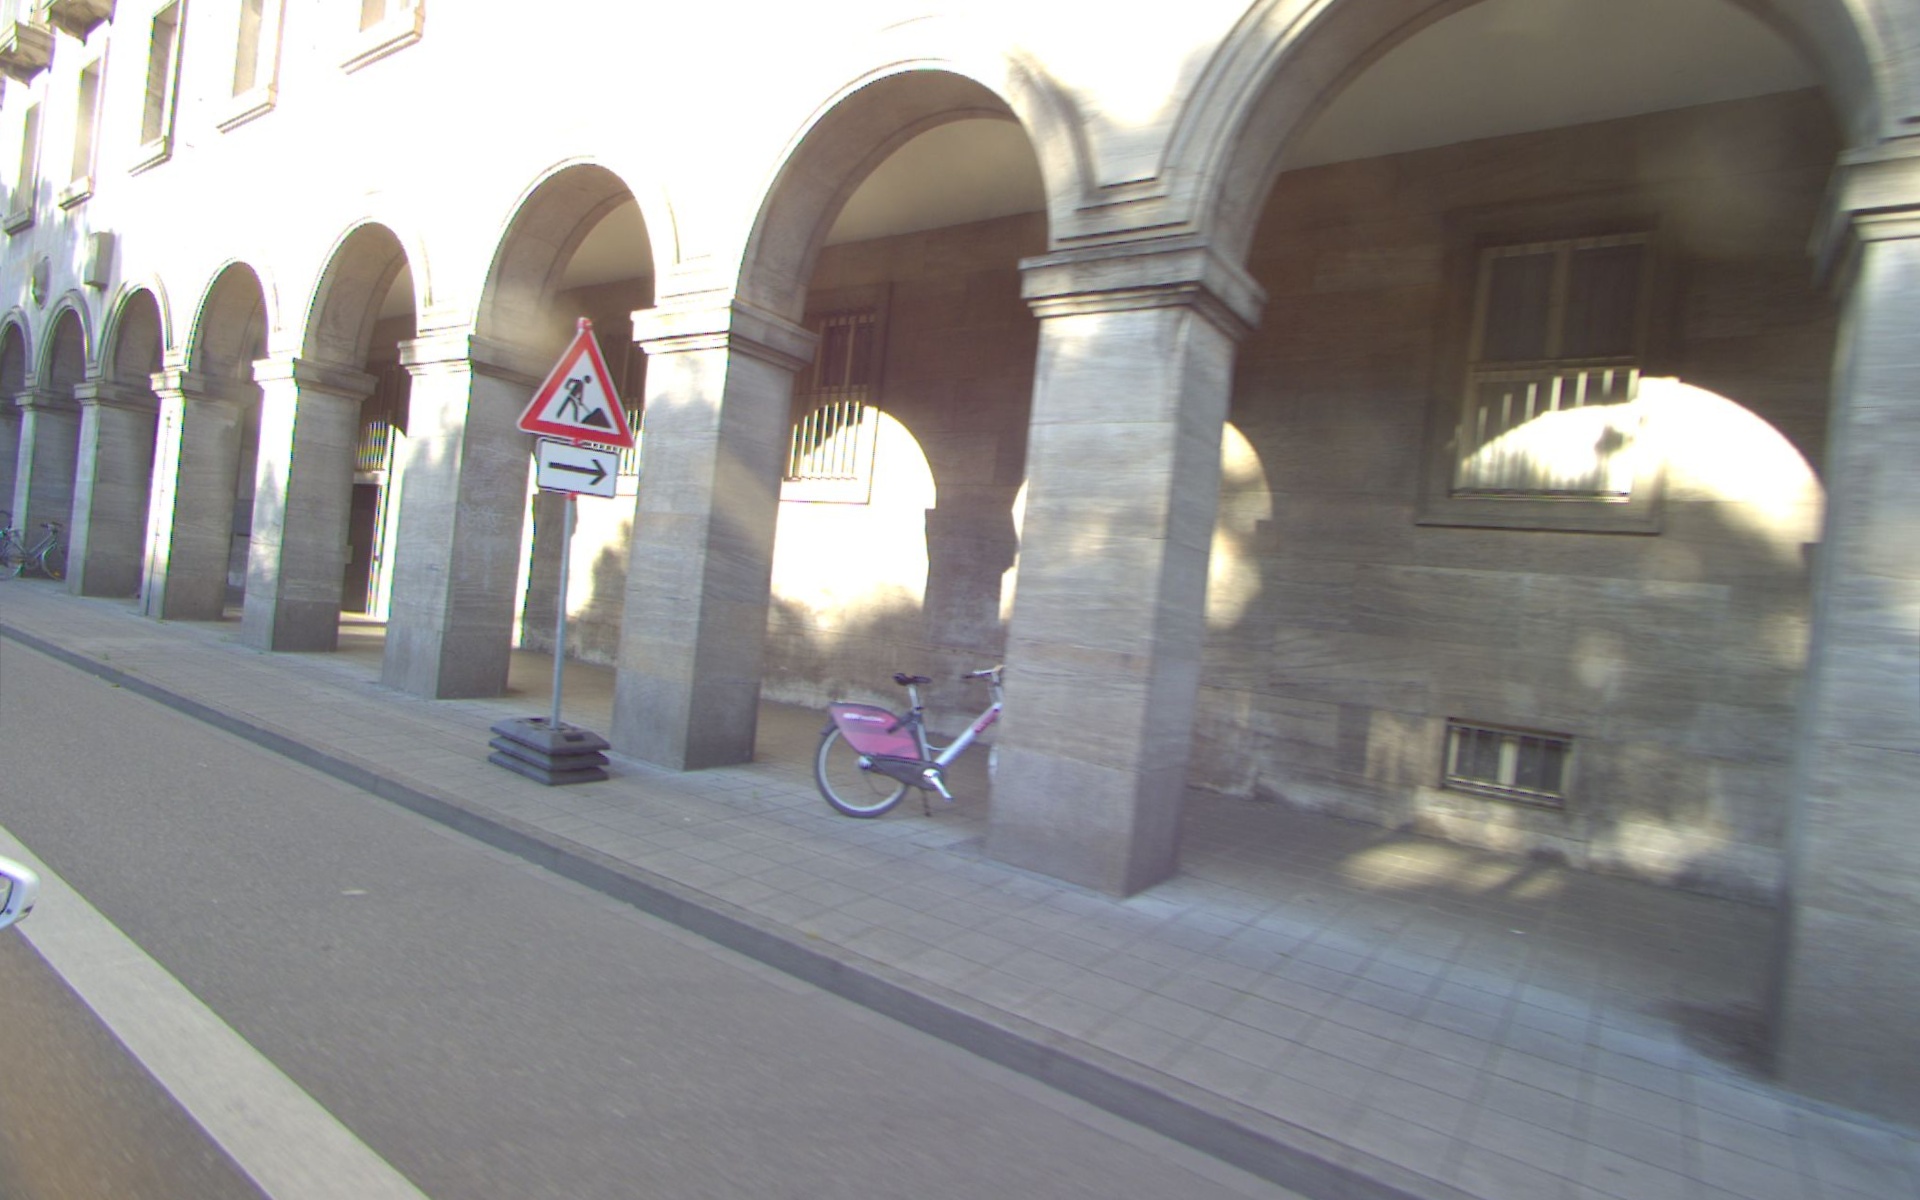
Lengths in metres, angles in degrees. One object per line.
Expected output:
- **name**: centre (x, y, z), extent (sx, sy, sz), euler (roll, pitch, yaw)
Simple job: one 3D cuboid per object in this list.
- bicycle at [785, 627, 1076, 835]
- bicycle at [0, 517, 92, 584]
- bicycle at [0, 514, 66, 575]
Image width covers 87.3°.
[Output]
- **bicycle**: centre (-0.208, 0.837, 6.495), extent (1.686, 1.148, 0.662), euler (5, 2, -15)
- **bicycle**: centre (-16.208, -0.860, 17.402), extent (0.518, 1.064, 1.712), euler (6, 1, 21)
- **bicycle**: centre (-17.594, -1.033, 18.718), extent (0.602, 1.064, 1.709), euler (5, 1, -11)
